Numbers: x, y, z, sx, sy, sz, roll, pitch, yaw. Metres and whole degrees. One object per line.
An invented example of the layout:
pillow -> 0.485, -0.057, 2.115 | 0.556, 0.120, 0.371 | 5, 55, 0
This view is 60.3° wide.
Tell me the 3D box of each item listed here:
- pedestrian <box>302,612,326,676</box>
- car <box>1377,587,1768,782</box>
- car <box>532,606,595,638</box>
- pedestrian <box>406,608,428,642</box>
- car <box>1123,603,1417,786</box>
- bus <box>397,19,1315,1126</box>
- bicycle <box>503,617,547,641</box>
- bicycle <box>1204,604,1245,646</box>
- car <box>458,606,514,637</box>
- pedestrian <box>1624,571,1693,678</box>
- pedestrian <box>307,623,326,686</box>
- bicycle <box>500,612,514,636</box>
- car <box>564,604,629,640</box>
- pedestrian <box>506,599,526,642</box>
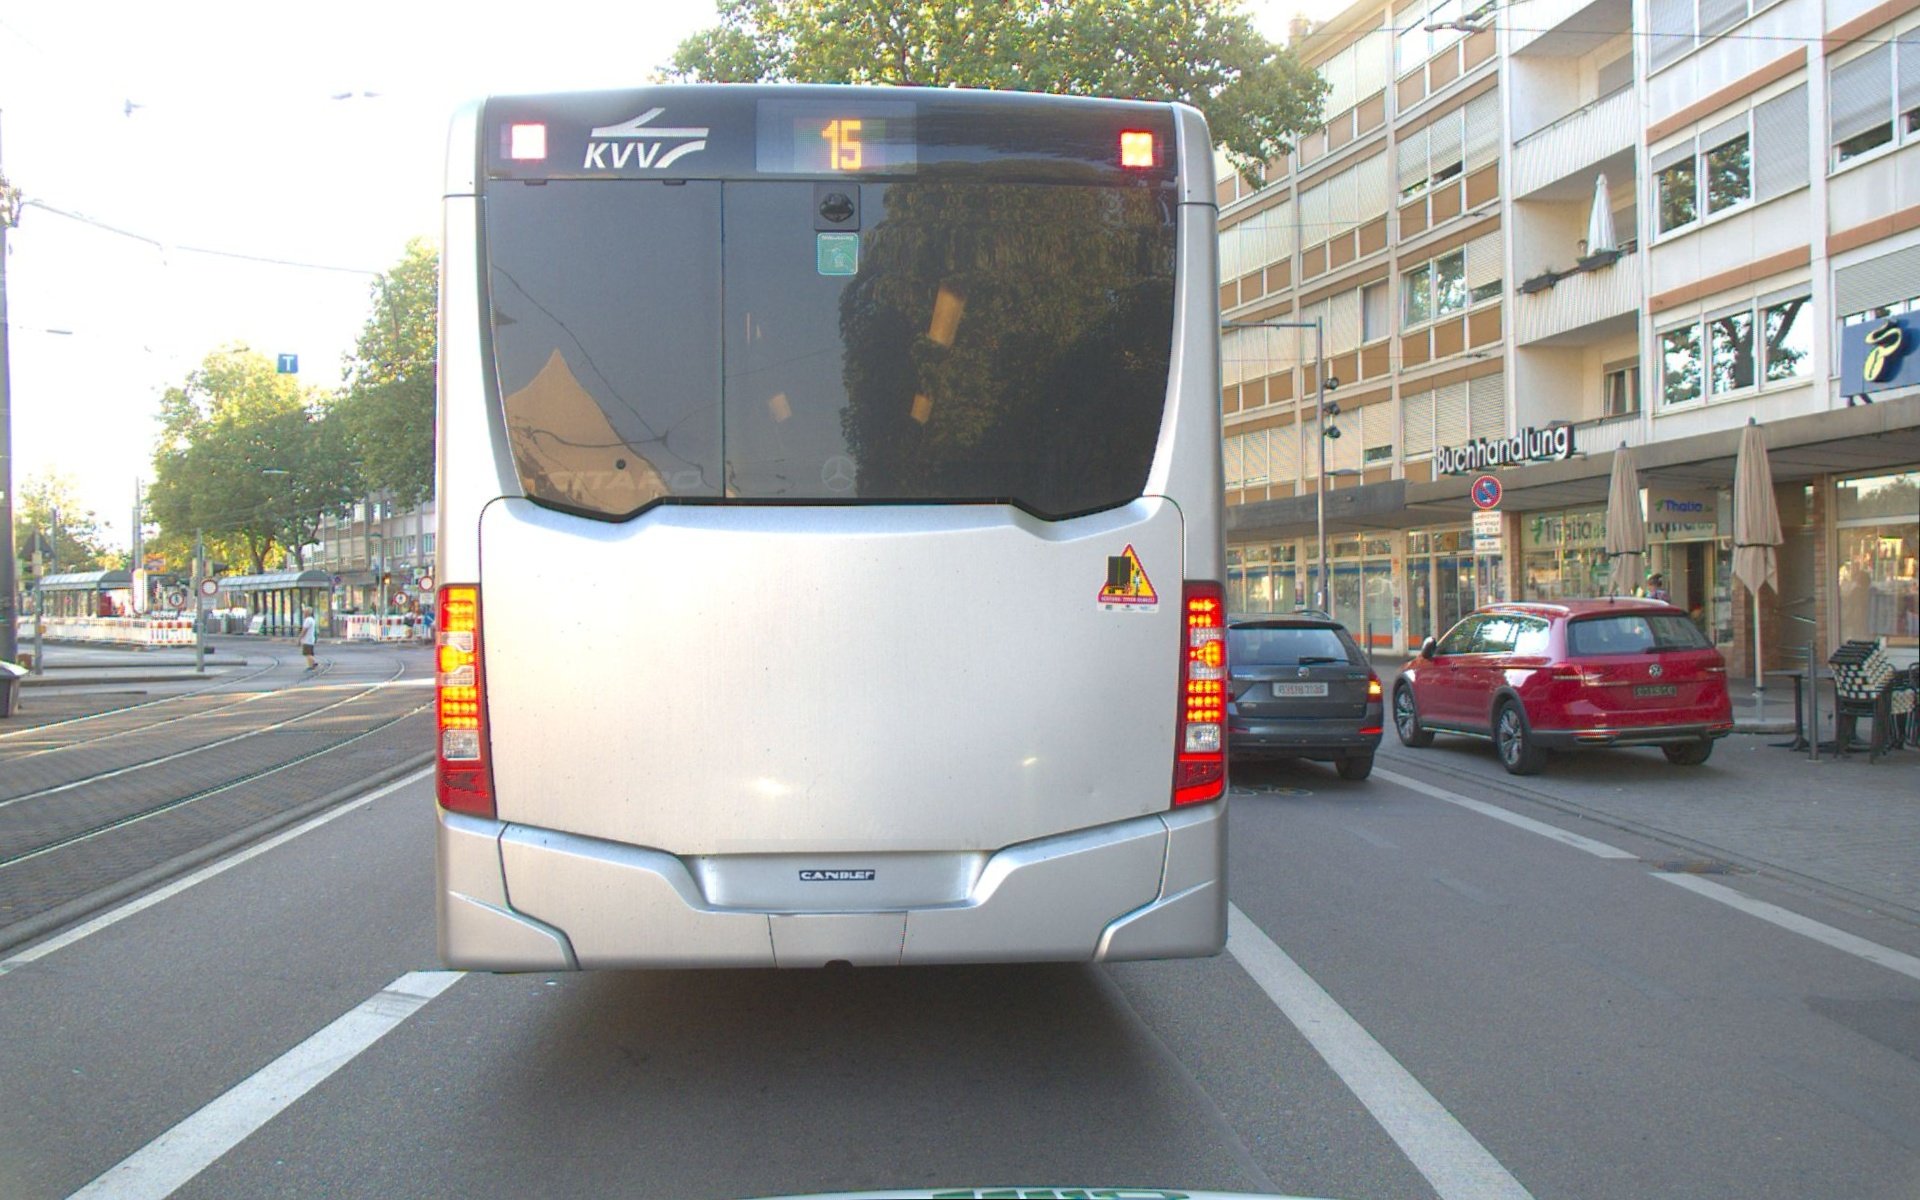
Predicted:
pedestrian -> -15.829, 1.070, 40.508 | 0.513, 1.530, 0.589 | -1, 0, -23
car -> 5.684, 0.702, 16.054 | 1.744, 1.522, 4.563 | -3, 0, -5
car -> -19.339, 1.077, 80.663 | 1.652, 1.419, 3.364 | -5, 3, -39
pedestrian -> -21.180, 0.971, 64.475 | 0.766, 1.326, 0.590 | -1, 0, -22
car -> 2.759, 0.782, 15.650 | 1.768, 1.499, 4.068 | 0, 0, -4
bus -> -0.510, -0.070, 9.882 | 2.605, 3.153, 10.210 | -1, 0, -3
bicycle -> -18.260, 1.206, 69.379 | 1.802, 0.959, 0.464 | -1, 0, 18
bicycle -> 7.272, 0.689, 45.546 | 0.431, 1.111, 1.453 | -3, 1, -20
car -> -25.114, 1.101, 87.633 | 1.651, 1.494, 3.365 | -5, 3, -38
pedestrian -> 10.631, 0.368, 25.201 | 0.627, 1.579, 0.806 | -1, 0, -8
pedestrian -> -15.986, 1.343, 41.093 | 0.402, 1.530, 0.514 | -1, 0, -23
bicycle -> -23.171, 1.218, 84.563 | 0.500, 1.232, 2.079 | -1, 0, -21
car -> -17.015, 1.016, 77.383 | 1.650, 1.542, 3.367 | -5, 3, -37
pedestrian -> -18.508, 0.845, 68.961 | 0.705, 1.755, 0.399 | -1, 0, 18
